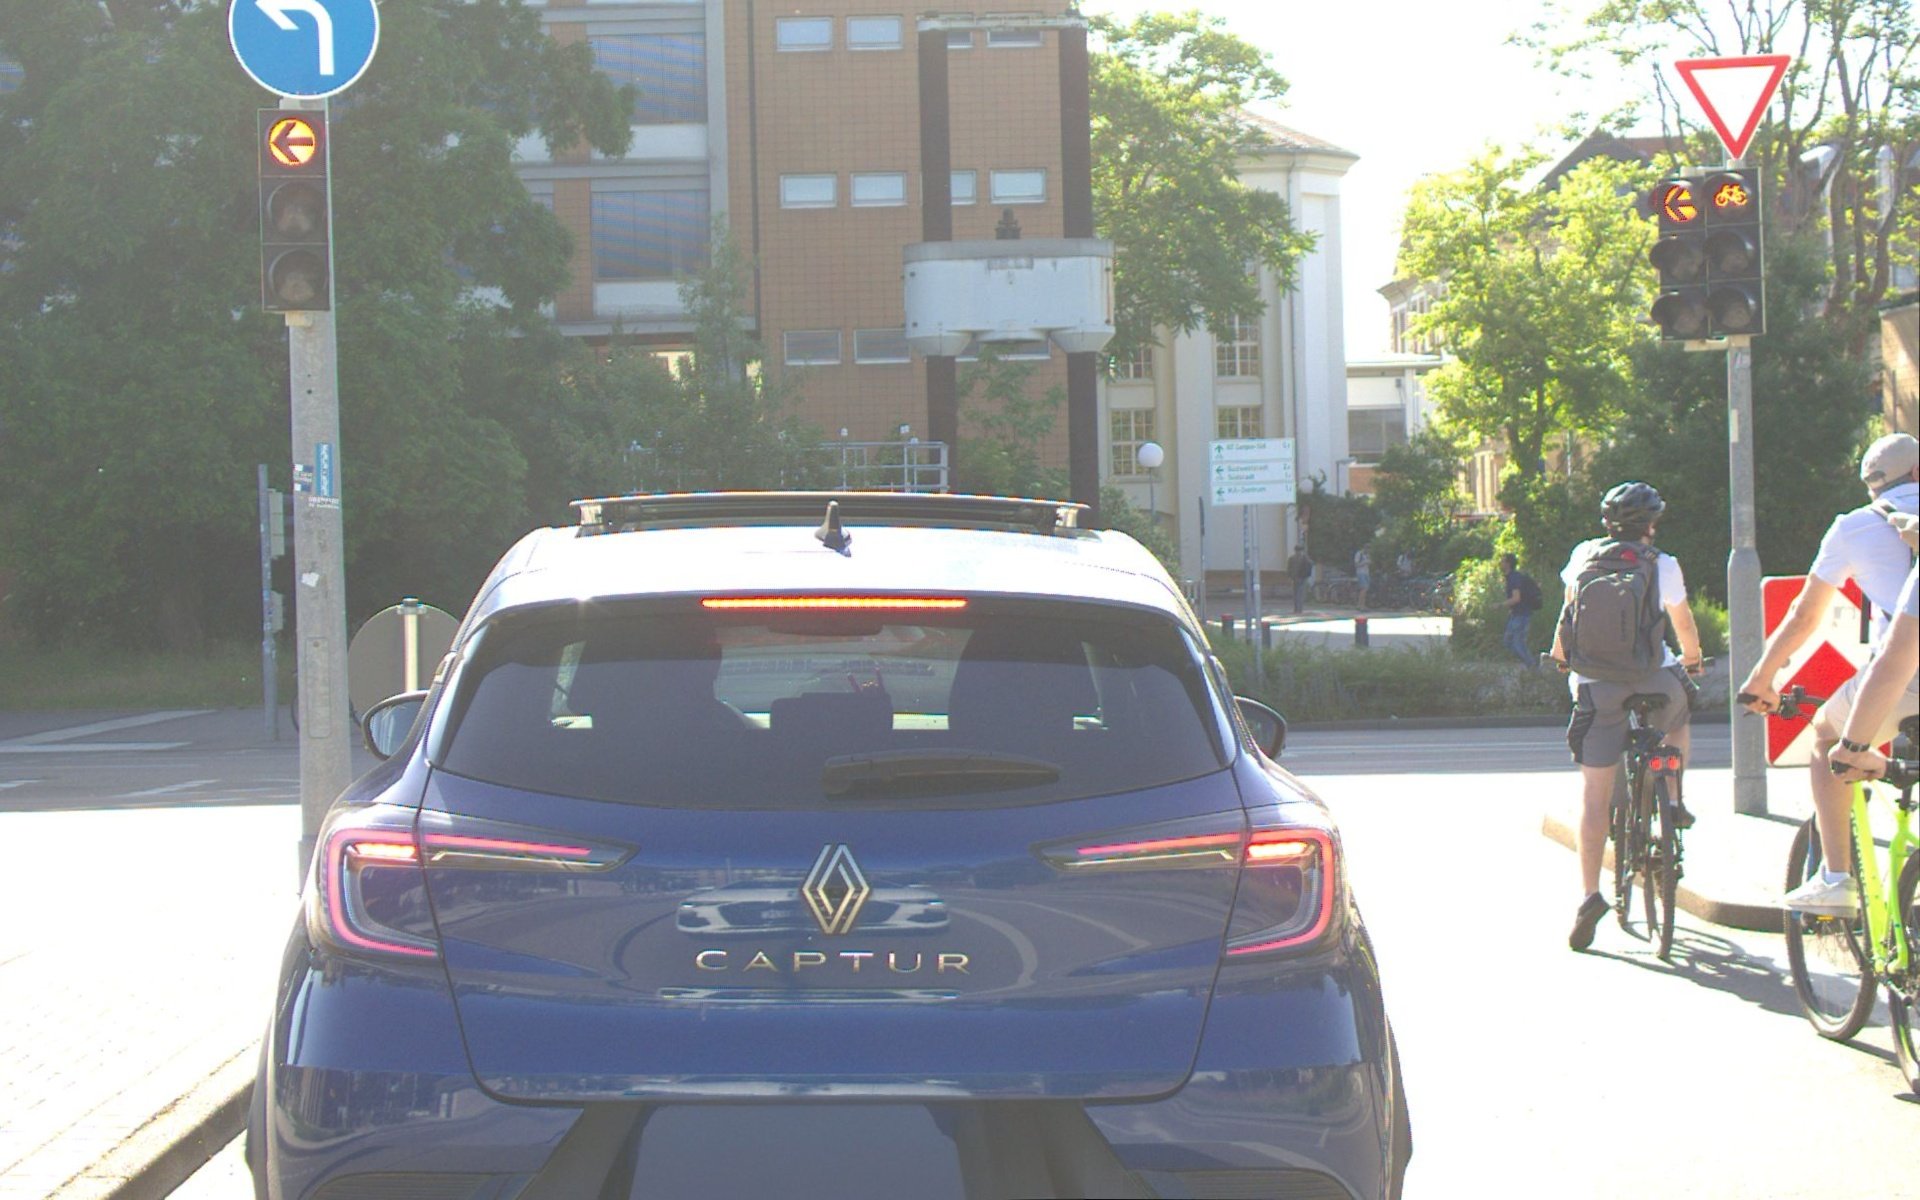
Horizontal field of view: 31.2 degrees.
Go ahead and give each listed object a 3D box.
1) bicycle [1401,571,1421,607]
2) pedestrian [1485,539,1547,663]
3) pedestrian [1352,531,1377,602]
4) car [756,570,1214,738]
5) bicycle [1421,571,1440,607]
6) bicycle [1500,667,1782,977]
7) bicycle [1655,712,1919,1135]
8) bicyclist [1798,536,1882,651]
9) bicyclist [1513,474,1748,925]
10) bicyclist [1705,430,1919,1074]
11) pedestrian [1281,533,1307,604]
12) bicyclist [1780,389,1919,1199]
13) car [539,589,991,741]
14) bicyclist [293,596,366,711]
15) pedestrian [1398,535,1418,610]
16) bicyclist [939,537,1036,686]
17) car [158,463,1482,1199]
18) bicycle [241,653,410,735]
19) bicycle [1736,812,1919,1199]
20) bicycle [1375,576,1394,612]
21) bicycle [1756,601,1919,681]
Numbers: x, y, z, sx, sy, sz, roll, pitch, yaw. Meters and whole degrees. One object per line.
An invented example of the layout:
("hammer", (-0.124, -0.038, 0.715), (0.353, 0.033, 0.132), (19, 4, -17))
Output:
("bicycle", (12.384, -0.305, 94.408), (0.405, 0.969, 1.683), (1, 1, 4))
("pedestrian", (7.274, 0.007, 44.968), (0.737, 1.598, 0.598), (-1, 1, 12))
("pedestrian", (10.739, -0.885, 91.223), (0.613, 1.849, 0.467), (-1, 1, 6))
("car", (0.281, 0.542, 35.191), (4.375, 1.626, 1.843), (-1, 0, 13))
("bicycle", (12.920, -0.298, 94.422), (0.405, 0.969, 1.683), (1, 1, 4))
("bicycle", (2.512, 0.783, 12.907), (0.739, 0.992, 2.173), (1, 1, 3))
("bicycle", (2.613, 0.867, 9.827), (0.659, 0.999, 1.970), (1, 1, -6))
("bicyclist", (11.038, -0.084, 43.134), (0.937, 1.424, 0.598), (-1, 1, 9))
("bicyclist", (2.509, 0.356, 12.951), (0.726, 1.623, 0.969), (1, 0, 4))
("bicyclist", (2.624, 0.408, 9.816), (0.645, 1.733, 1.067), (1, 0, -6))
("pedestrian", (8.841, -0.830, 90.945), (0.623, 1.849, 0.563), (-1, 1, 2))
("bicyclist", (2.233, 0.419, 7.251), (0.751, 1.663, 1.016), (1, 0, 1))
("car", (-2.193, 0.732, 39.182), (4.826, 1.626, 1.843), (-1, 0, 11))
("bicyclist", (-8.032, 0.676, 43.793), (0.737, 1.436, 0.598), (-2, 1, -27))
("pedestrian", (12.040, -0.750, 92.400), (0.475, 2.007, 0.468), (-1, 1, 6))
("bicyclist", (0.356, 0.142, 44.067), (1.102, 1.860, 0.653), (-1, 2, 10))
("car", (-0.267, 0.608, 6.702), (1.803, 1.626, 4.000), (0, 1, -2))
("bicycle", (-8.079, 1.190, 43.775), (2.005, 0.961, 0.598), (-2, 1, -27))
("bicycle", (2.229, 0.970, 7.262), (0.740, 0.893, 1.978), (1, 1, 1))
("bicycle", (11.616, -0.169, 94.042), (0.405, 0.969, 1.683), (1, 1, 4))
("bicycle", (11.119, 0.515, 43.294), (2.077, 0.961, 0.598), (-1, 1, 8))
